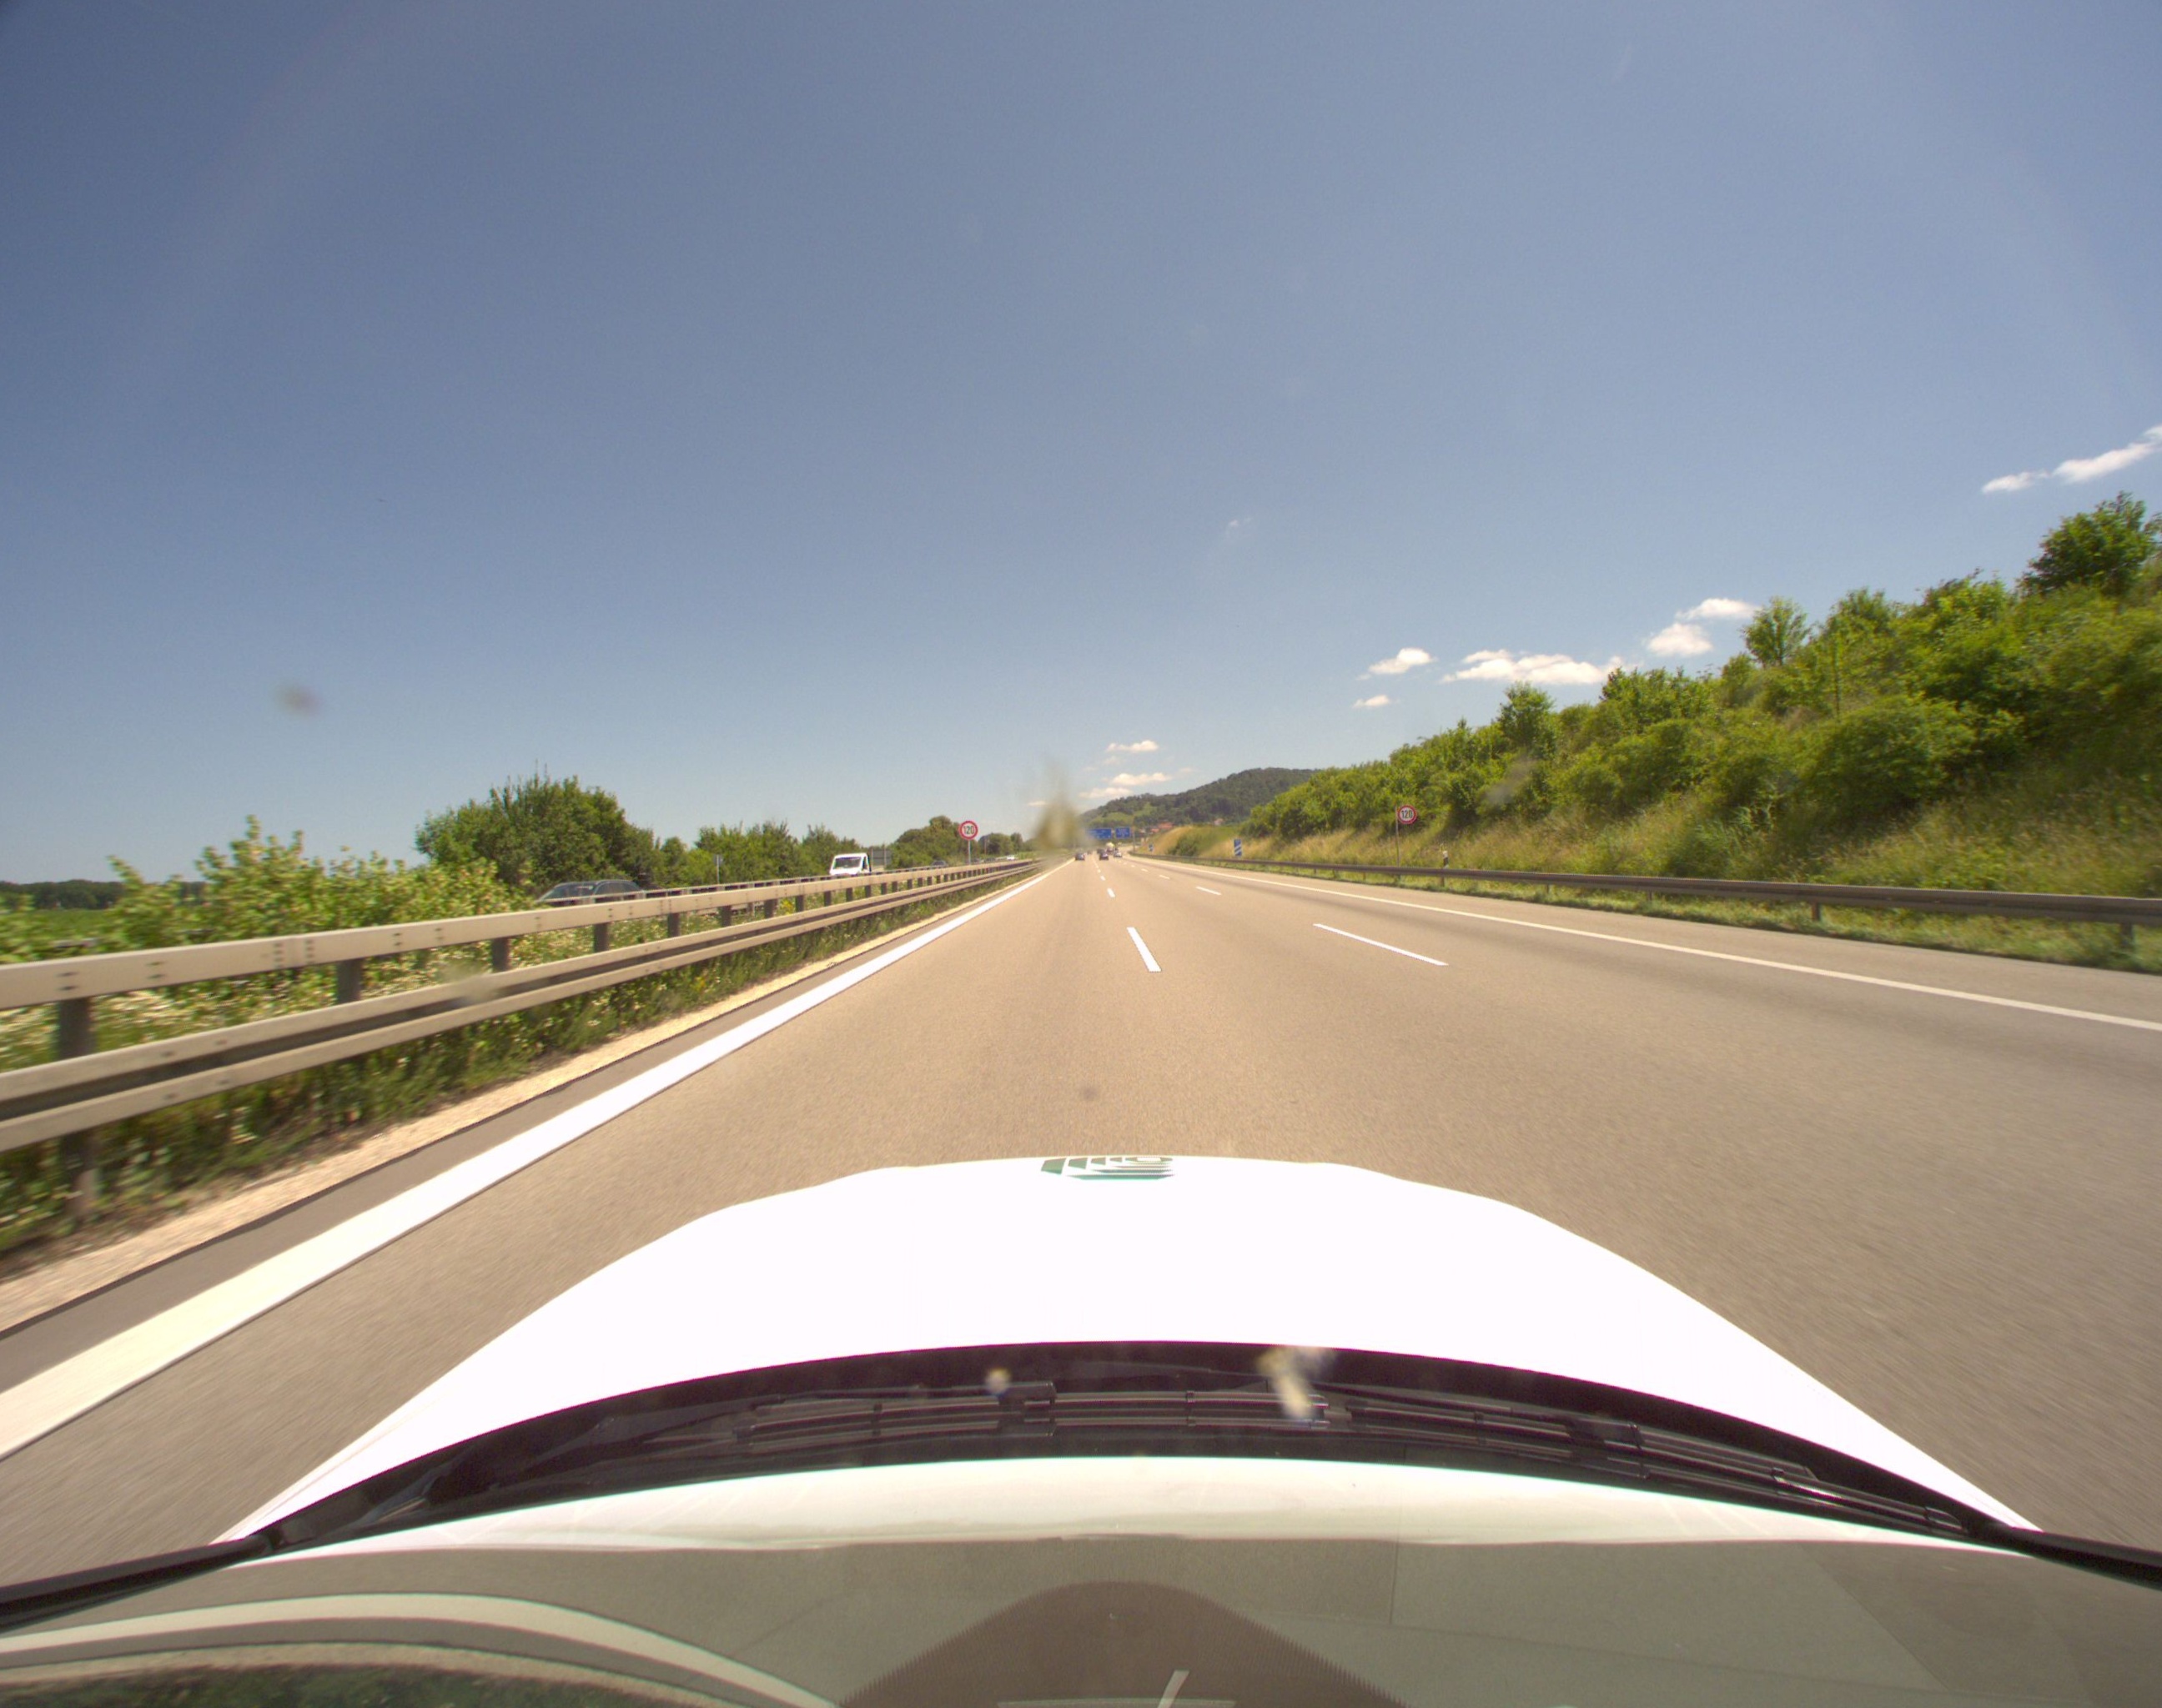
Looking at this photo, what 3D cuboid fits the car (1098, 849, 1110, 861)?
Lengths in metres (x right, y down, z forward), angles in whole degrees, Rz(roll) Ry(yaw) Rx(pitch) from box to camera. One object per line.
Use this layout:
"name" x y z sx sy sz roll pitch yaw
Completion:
"car" 3.978 0.190 143.007 1.986 2.014 4.001 -1 -1 1

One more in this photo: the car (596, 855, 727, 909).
"car" -13.329 0.844 26.216 1.941 1.543 4.286 -1 -1 1

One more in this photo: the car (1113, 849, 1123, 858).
"car" 8.358 -0.071 184.087 1.986 1.818 4.001 -3 0 1

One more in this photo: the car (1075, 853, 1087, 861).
"car" 0.058 0.537 142.574 1.986 1.389 4.001 -1 -1 1

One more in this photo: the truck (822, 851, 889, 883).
"truck" -13.911 0.790 50.663 2.419 1.837 5.729 -1 -1 2

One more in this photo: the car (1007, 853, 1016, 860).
"car" -17.058 0.658 200.245 1.879 1.540 4.001 -1 -1 2

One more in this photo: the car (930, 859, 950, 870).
"car" -17.796 1.340 102.774 1.734 1.263 3.679 -1 -1 2
